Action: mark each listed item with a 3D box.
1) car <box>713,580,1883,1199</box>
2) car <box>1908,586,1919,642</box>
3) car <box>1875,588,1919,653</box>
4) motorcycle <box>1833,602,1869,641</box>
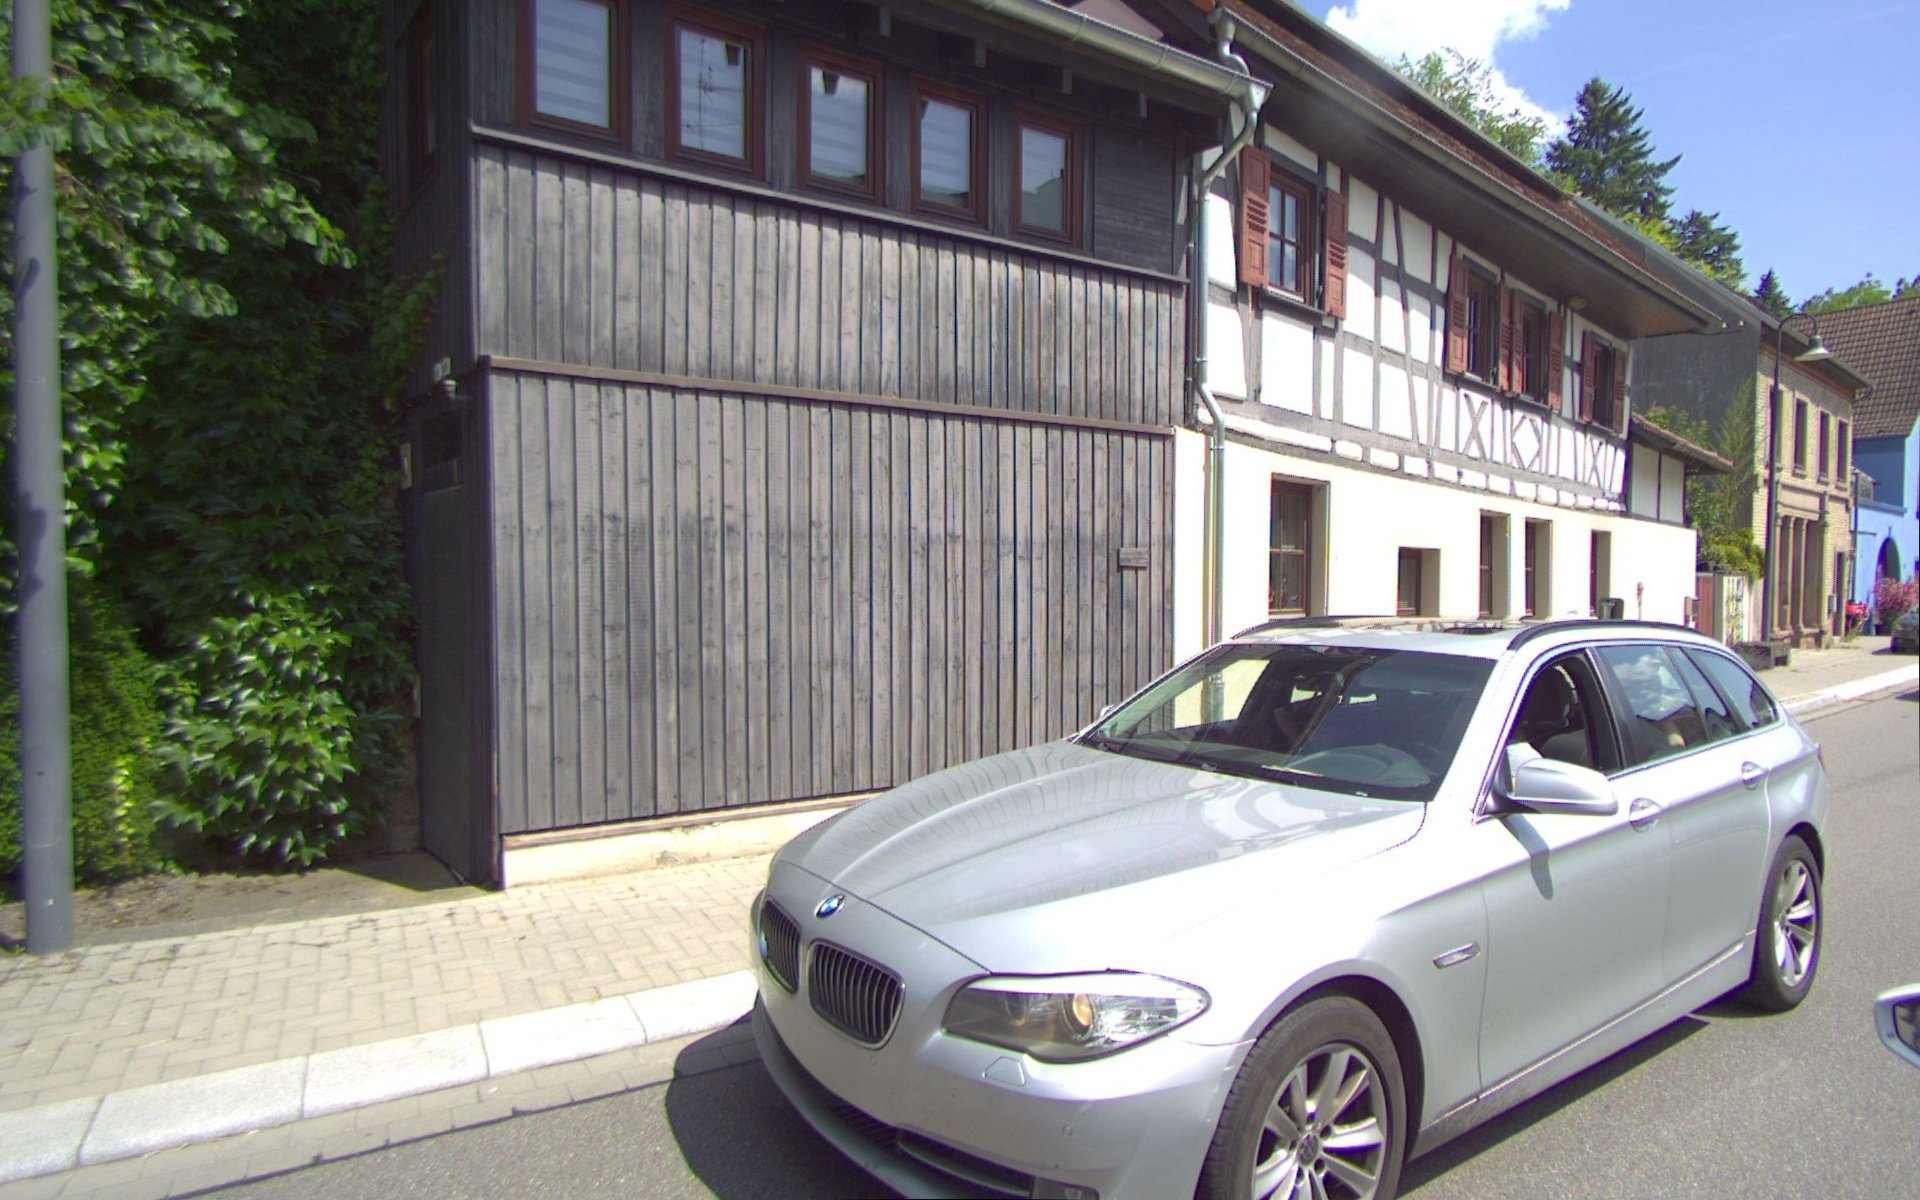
[{"bbox_3d":[1.593,0.742,3.803,4.567,1.520,1.883,0,0,-35],"label":"car"},{"bbox_3d":[27.939,0.386,27.654,4.624,1.484,1.871,-2,5,-37],"label":"car"},{"bbox_3d":[24.081,0.486,24.510,4.507,1.485,1.940,0,2,-40],"label":"car"},{"bbox_3d":[25.164,0.588,28.366,1.843,1.014,0.414,0,6,-40],"label":"motorcycle"}]
